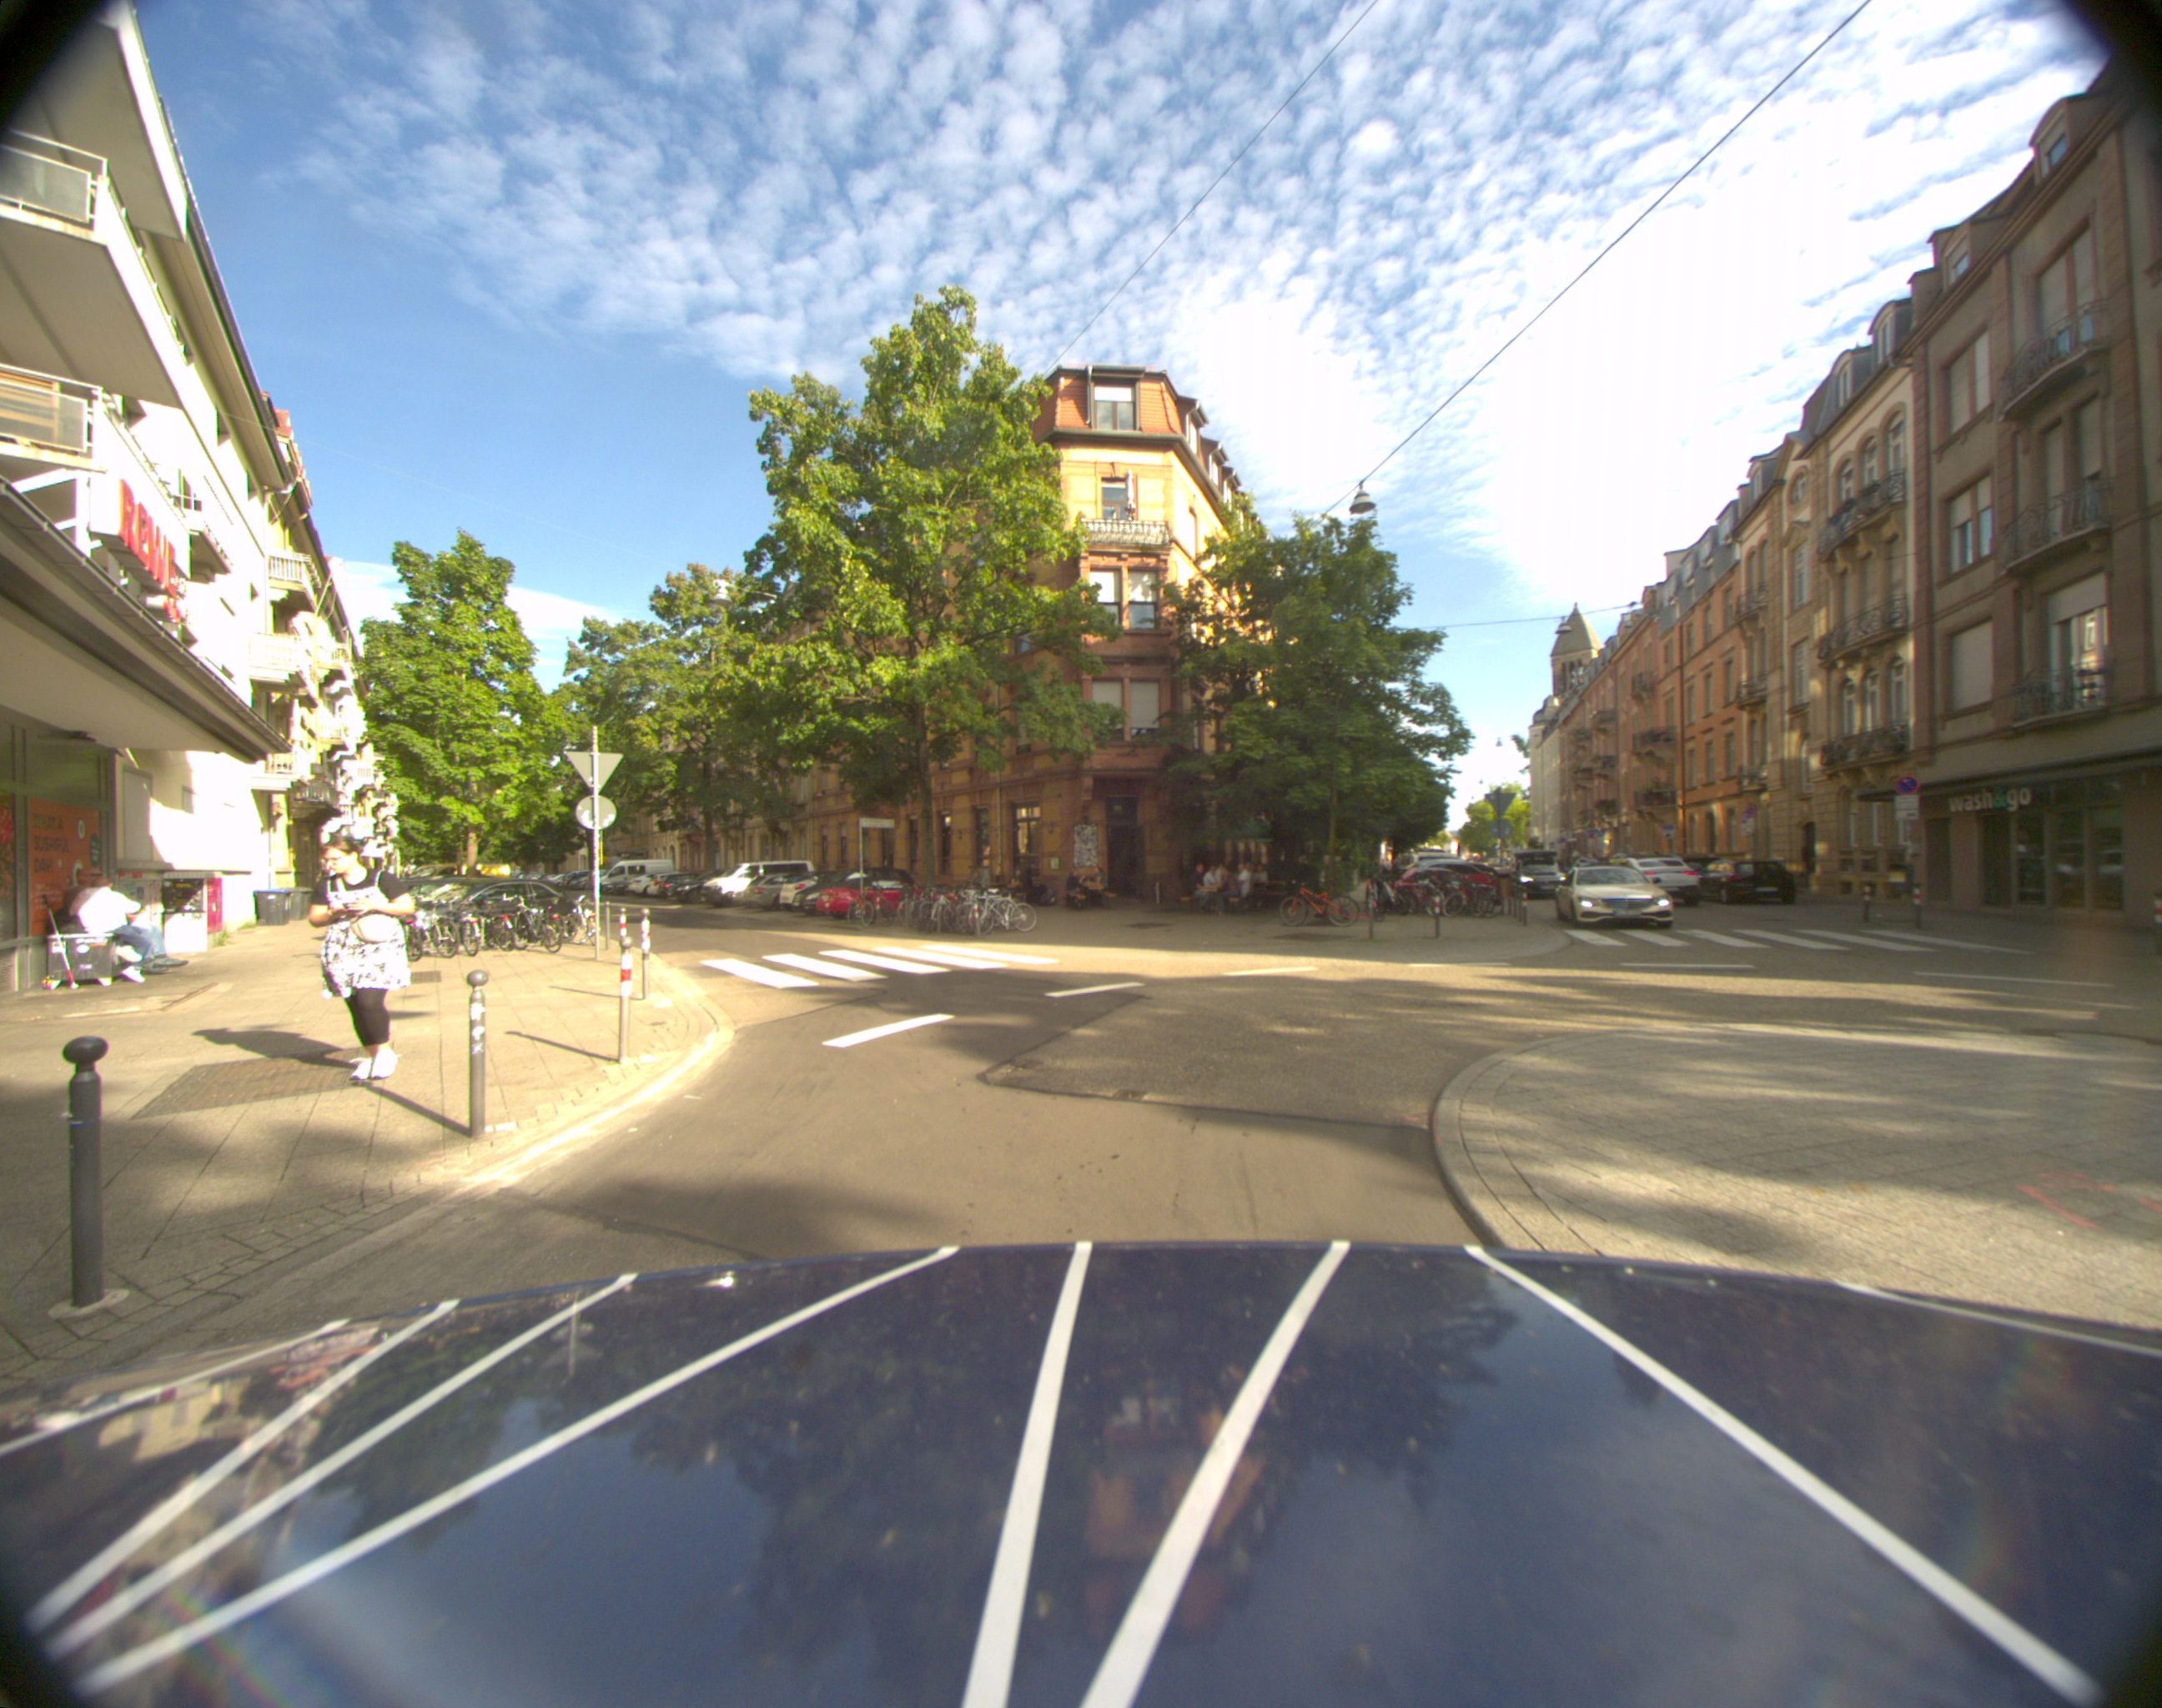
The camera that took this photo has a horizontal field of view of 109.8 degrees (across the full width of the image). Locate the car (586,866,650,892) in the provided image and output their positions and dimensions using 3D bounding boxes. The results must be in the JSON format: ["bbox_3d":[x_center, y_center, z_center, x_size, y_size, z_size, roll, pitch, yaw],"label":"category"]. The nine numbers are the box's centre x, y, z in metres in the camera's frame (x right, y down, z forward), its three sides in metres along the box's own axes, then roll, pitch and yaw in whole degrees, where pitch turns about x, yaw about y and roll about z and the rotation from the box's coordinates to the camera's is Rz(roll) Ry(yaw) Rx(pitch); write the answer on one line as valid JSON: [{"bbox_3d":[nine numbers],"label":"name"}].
[{"bbox_3d":[-37.438,2.014,61.487,4.134,1.862,1.995,-1,-1,-39],"label":"car"}]

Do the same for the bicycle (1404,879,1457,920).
[{"bbox_3d":[9.542,1.227,20.811,0.418,0.979,1.838,1,1,-6],"label":"bicycle"}]

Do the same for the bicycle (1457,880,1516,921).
[{"bbox_3d":[11.186,1.266,21.048,0.472,0.979,1.864,1,1,-6],"label":"bicycle"}]

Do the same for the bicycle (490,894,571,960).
[{"bbox_3d":[-10.475,1.368,14.441,1.848,1.169,0.414,-1,-1,26],"label":"bicycle"}]

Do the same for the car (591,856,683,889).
[{"bbox_3d":[-32.275,1.332,55.272,5.493,2.188,1.995,-1,-1,-39],"label":"car"}]

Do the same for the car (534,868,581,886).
[{"bbox_3d":[-56.813,2.480,82.449,4.008,1.721,1.825,-1,-1,-41],"label":"car"}]

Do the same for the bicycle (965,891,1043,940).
[{"bbox_3d":[-1.775,1.411,17.626,1.714,0.964,0.447,-2,2,-27],"label":"bicycle"}]

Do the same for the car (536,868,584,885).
[{"bbox_3d":[-55.251,2.387,80.611,4.008,1.721,1.825,-1,-1,-41],"label":"car"}]

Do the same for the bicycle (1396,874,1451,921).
[{"bbox_3d":[9.218,1.142,20.520,0.475,1.136,1.838,1,1,-6],"label":"bicycle"}]

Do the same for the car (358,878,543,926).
[{"bbox_3d":[-21.655,1.596,26.351,1.746,1.486,4.638,-2,-2,23],"label":"car"}]

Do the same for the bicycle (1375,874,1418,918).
[{"bbox_3d":[8.698,1.135,21.010,0.475,1.094,1.675,1,1,1],"label":"bicycle"}]

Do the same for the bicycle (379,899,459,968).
[{"bbox_3d":[-11.514,1.351,13.205,1.694,1.079,0.422,0,0,27],"label":"bicycle"}]

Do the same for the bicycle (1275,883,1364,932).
[{"bbox_3d":[5.400,1.185,17.221,1.852,1.029,0.685,0,0,25],"label":"bicycle"}]

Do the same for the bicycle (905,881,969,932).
[{"bbox_3d":[-3.802,1.369,20.137,0.447,1.195,1.716,0,2,42],"label":"bicycle"}]

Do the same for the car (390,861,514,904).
[{"bbox_3d":[-34.553,1.541,41.921,2.143,2.207,4.818,-1,-2,19],"label":"car"}]

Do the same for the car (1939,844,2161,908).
[{"bbox_3d":[27.434,0.622,21.291,3.992,1.611,2.003,-2,-1,17],"label":"car"}]

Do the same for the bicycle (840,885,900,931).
[{"bbox_3d":[-5.815,1.451,20.799,0.583,1.090,2.493,-5,3,-39],"label":"bicycle"}]

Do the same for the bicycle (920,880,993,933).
[{"bbox_3d":[-3.112,1.308,19.087,1.714,1.195,0.447,-2,2,-27],"label":"bicycle"}]

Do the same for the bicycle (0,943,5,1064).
[{"bbox_3d":[-9.031,1.251,5.651,0.584,1.026,1.532,1,-1,-30],"label":"bicycle"}]

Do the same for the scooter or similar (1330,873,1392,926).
[{"bbox_3d":[6.831,1.089,18.572,0.557,1.203,1.289,2,-1,-38],"label":"scooter or similar"}]

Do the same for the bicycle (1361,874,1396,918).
[{"bbox_3d":[8.197,1.137,21.004,0.433,1.094,1.676,1,1,6],"label":"bicycle"}]

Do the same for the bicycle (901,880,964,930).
[{"bbox_3d":[-3.997,1.358,20.592,0.447,1.195,1.716,0,2,42],"label":"bicycle"}]

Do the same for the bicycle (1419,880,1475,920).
[{"bbox_3d":[10.080,1.255,21.006,0.472,0.979,1.864,1,1,-6],"label":"bicycle"}]

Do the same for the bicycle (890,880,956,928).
[{"bbox_3d":[-4.355,1.357,21.004,1.715,1.195,0.447,-3,2,-36],"label":"bicycle"}]

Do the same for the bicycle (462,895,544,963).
[{"bbox_3d":[-10.731,1.369,14.097,1.848,1.169,0.414,-1,-1,26],"label":"bicycle"}]

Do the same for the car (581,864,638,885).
[{"bbox_3d":[-41.480,1.784,66.922,4.008,1.721,1.825,-1,-1,-41],"label":"car"}]

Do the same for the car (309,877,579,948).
[{"bbox_3d":[-14.991,1.309,18.299,1.953,1.446,4.673,-1,-2,16],"label":"car"}]

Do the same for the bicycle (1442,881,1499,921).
[{"bbox_3d":[10.737,1.268,21.012,0.472,0.979,1.864,1,1,-6],"label":"bicycle"}]

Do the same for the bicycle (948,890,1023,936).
[{"bbox_3d":[-2.301,1.408,18.350,1.714,0.981,0.447,-2,2,-27],"label":"bicycle"}]

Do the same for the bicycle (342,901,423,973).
[{"bbox_3d":[-11.711,1.358,12.724,1.694,1.079,0.422,0,0,27],"label":"bicycle"}]

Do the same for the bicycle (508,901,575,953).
[{"bbox_3d":[-11.034,1.472,15.544,1.420,0.995,0.494,-1,-1,26],"label":"bicycle"}]

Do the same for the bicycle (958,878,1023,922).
[{"bbox_3d":[-2.624,1.320,22.114,1.803,1.107,0.598,-3,2,-36],"label":"bicycle"}]

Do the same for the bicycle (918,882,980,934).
[{"bbox_3d":[-3.398,1.371,19.754,0.447,1.195,1.715,0,2,37],"label":"bicycle"}]

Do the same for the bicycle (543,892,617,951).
[{"bbox_3d":[-10.625,1.407,16.083,1.848,1.169,0.414,-1,-1,26],"label":"bicycle"}]

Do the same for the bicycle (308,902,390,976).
[{"bbox_3d":[-12.026,1.363,12.473,1.694,1.079,0.422,0,0,27],"label":"bicycle"}]

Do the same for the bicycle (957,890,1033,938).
[{"bbox_3d":[-2.031,1.406,18.003,1.714,0.981,0.447,-2,2,-27],"label":"bicycle"}]

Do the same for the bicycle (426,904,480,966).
[{"bbox_3d":[-11.219,1.421,13.562,1.498,1.012,0.414,-1,-1,37],"label":"bicycle"}]

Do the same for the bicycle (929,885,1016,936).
[{"bbox_3d":[-2.651,1.357,18.675,2.048,1.082,0.447,-2,2,-27],"label":"bicycle"}]
